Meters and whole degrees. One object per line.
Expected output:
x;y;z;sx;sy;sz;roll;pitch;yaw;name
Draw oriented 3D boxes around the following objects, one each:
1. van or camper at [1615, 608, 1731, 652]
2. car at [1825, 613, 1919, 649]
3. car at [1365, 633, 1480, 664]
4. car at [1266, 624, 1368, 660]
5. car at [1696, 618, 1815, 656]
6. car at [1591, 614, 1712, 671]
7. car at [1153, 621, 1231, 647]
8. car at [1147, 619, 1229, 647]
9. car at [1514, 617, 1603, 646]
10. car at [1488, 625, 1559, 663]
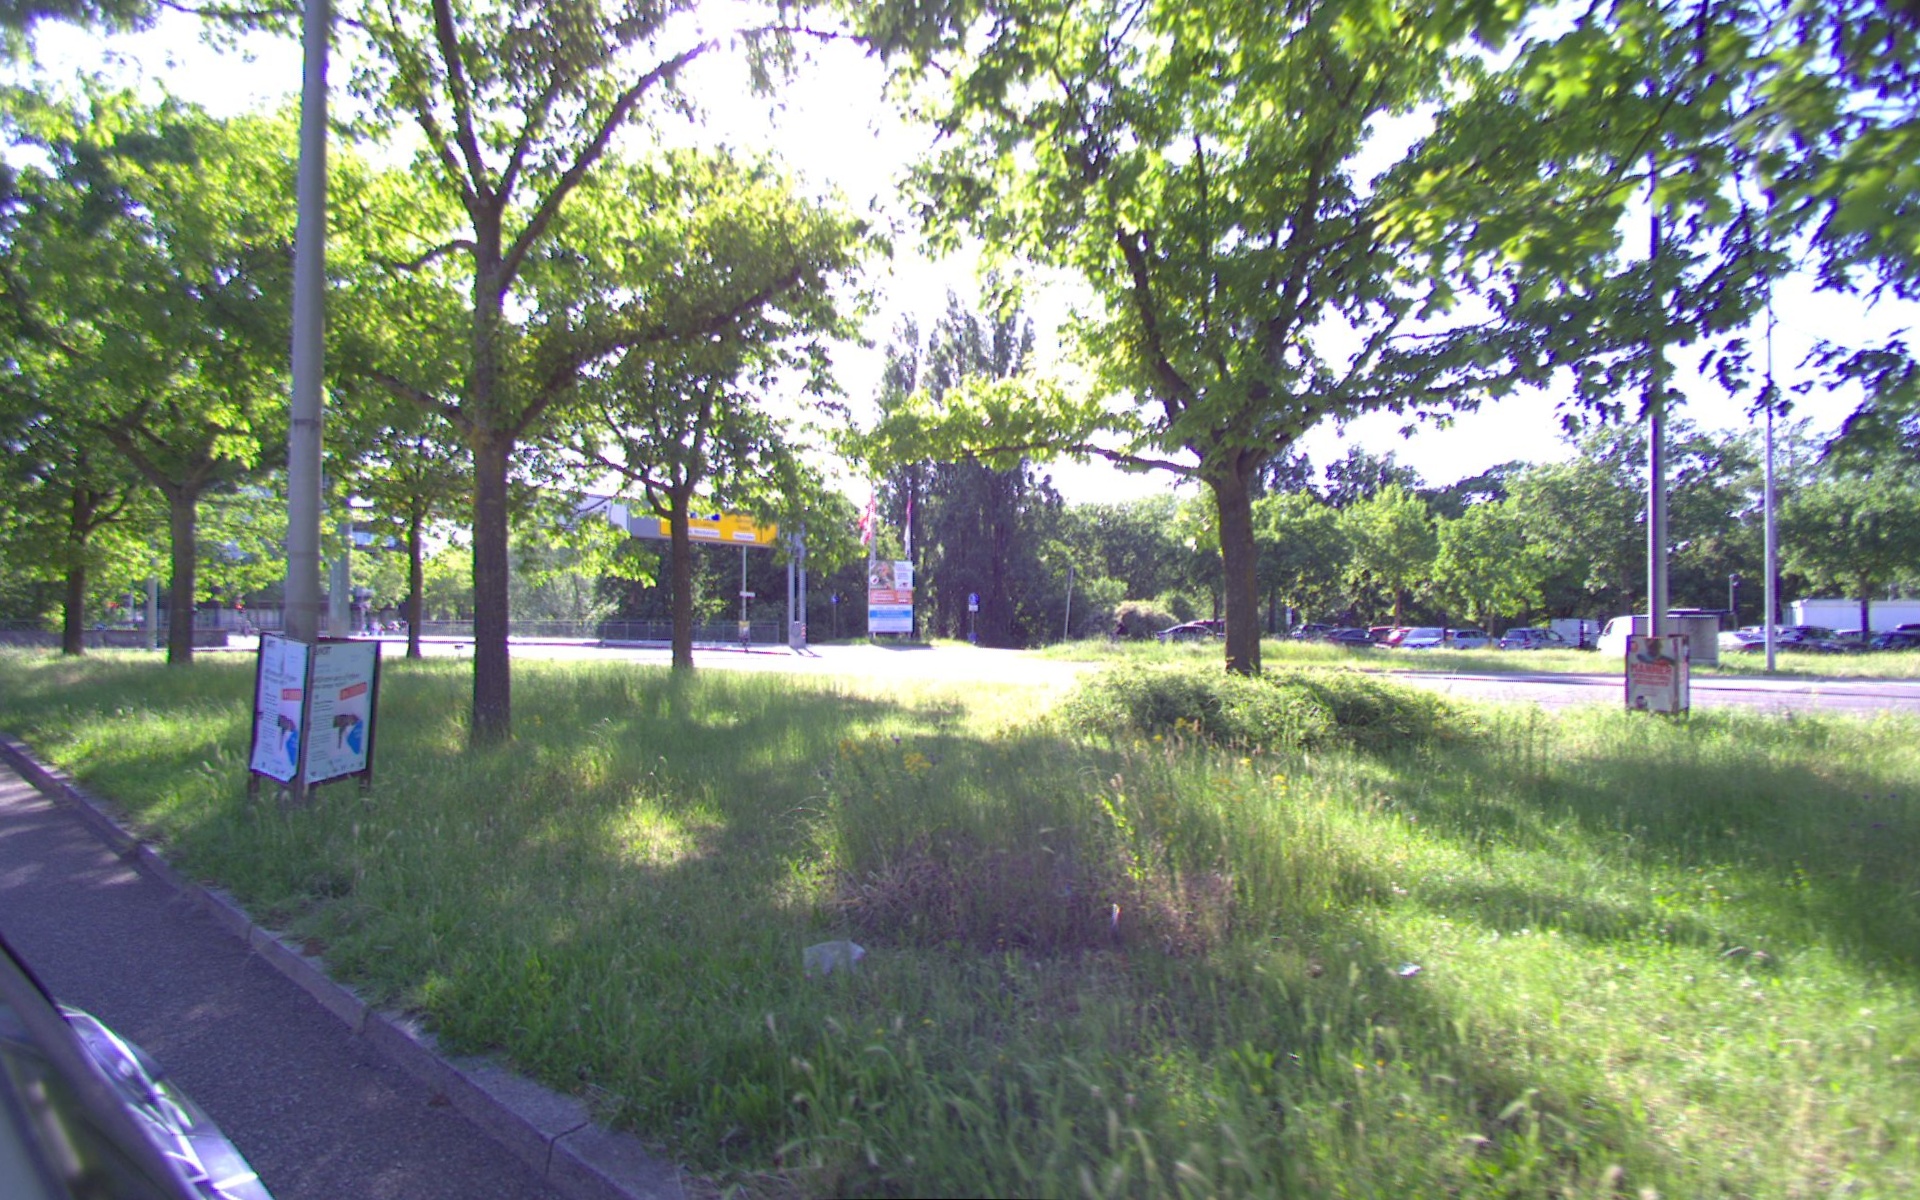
36.332;1.506;51.674;1.966;2.112;4.413;1;-1;-33;van or camper
46.656;1.556;51.189;3.930;1.733;1.871;-1;-1;17;car
18.671;1.920;40.865;3.990;1.137;1.801;-1;-1;34;car
15.554;1.791;44.301;1.791;1.459;4.012;1;-1;-30;car
29.058;1.321;37.137;1.981;1.292;3.981;0;-1;15;car
26.141;1.567;38.504;2.218;2.029;4.975;0;-1;15;car
14.005;2.022;61.268;4.508;1.475;1.993;0;0;11;car
12.972;1.861;57.783;4.508;1.475;1.993;0;0;11;car
34.510;1.822;58.407;1.969;1.521;4.005;1;-4;-42;car
27.846;2.140;49.970;3.823;1.618;1.657;-3;1;-38;car
